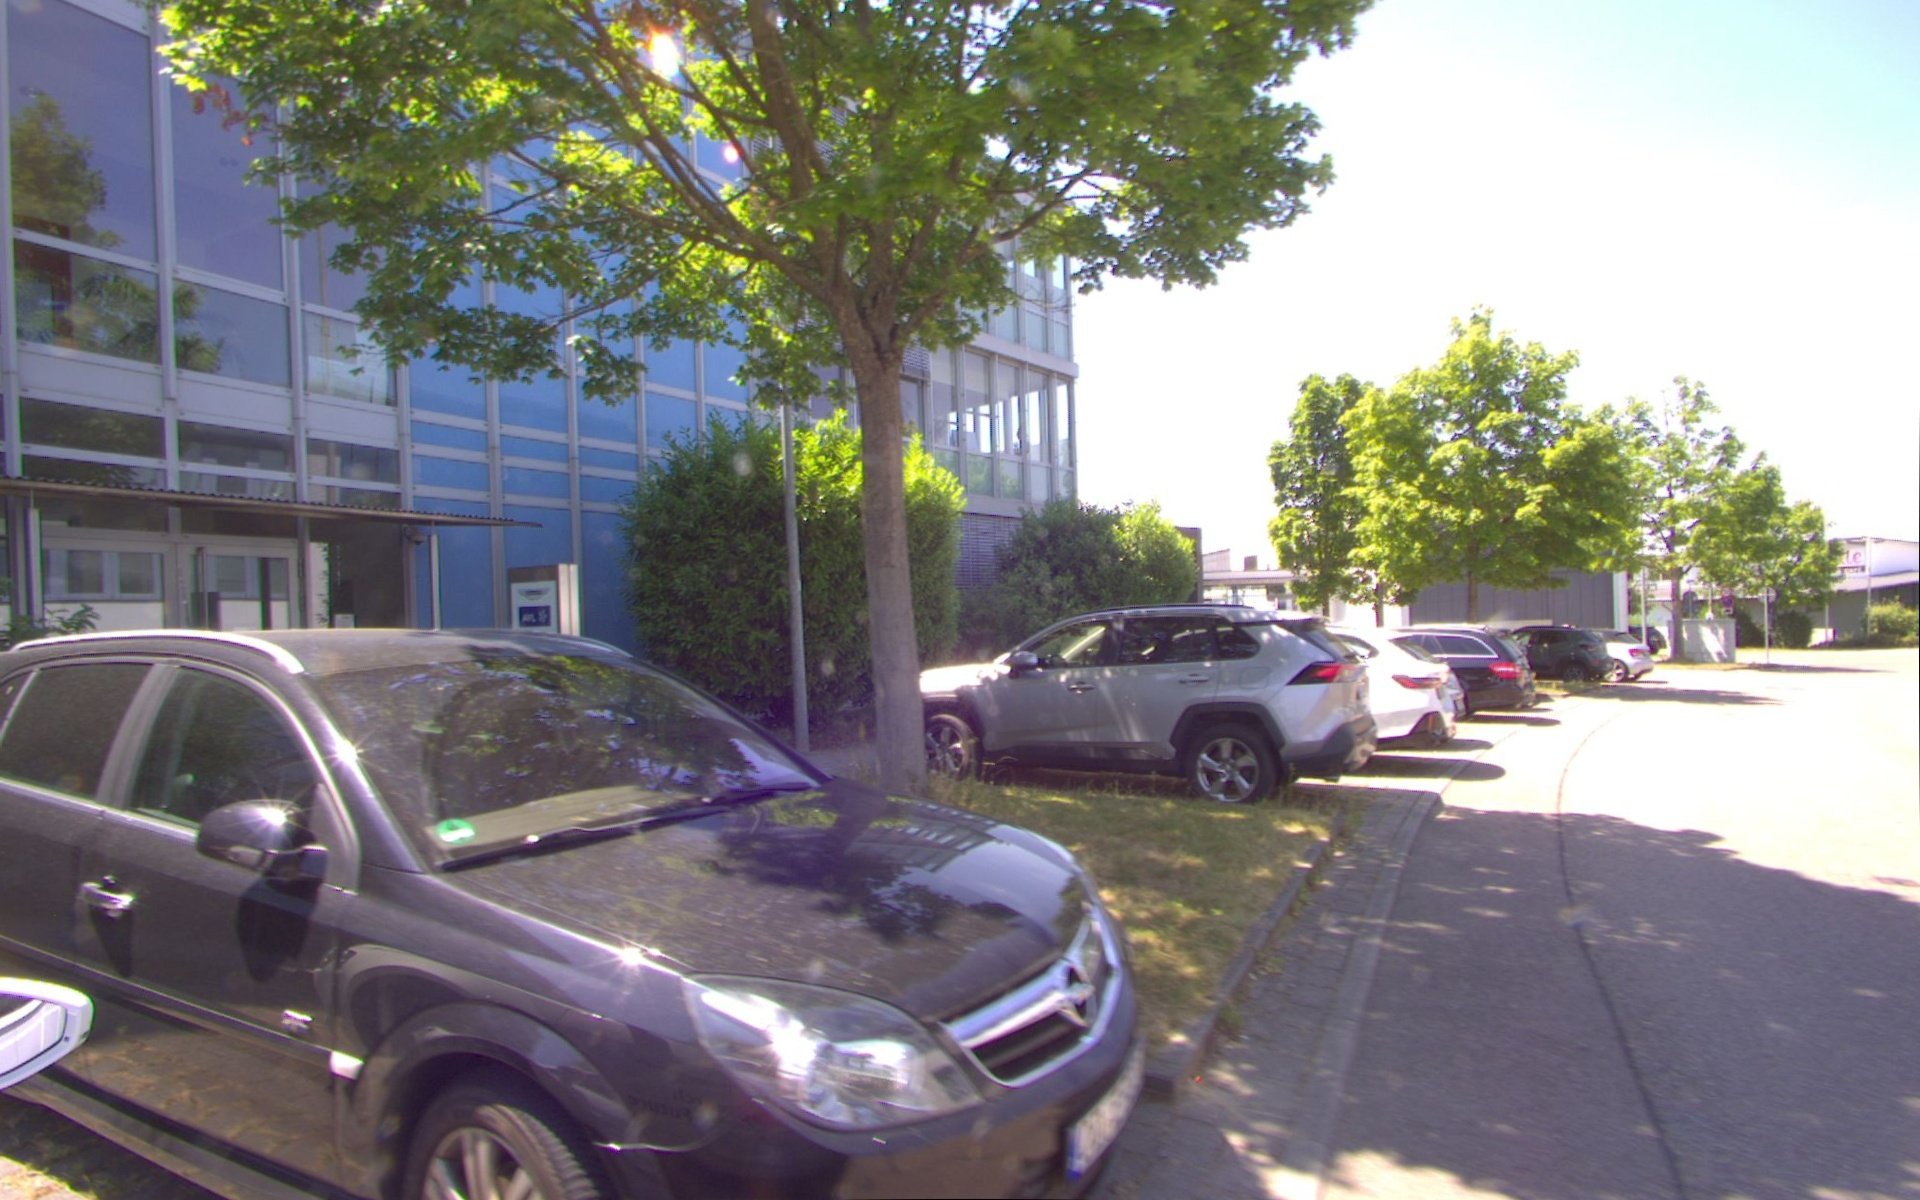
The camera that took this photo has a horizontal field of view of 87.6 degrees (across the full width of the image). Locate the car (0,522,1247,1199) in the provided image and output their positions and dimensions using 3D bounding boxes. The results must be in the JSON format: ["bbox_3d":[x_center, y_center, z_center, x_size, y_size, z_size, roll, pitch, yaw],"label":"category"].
[{"bbox_3d":[-1.576,0.760,3.135,4.495,1.569,1.757,-2,-2,28],"label":"car"}]

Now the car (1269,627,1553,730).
[{"bbox_3d":[7.530,1.220,16.905,4.125,1.505,1.649,0,-1,38],"label":"car"}]

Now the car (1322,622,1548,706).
[{"bbox_3d":[10.154,1.296,21.610,4.134,1.625,1.646,-1,-1,44],"label":"car"}]

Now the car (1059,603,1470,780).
[{"bbox_3d":[3.334,0.895,11.183,4.140,1.664,1.653,0,-1,30],"label":"car"}]

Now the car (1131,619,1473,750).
[{"bbox_3d":[4.531,1.021,13.421,4.115,1.505,1.653,0,-1,30],"label":"car"}]

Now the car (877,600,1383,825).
[{"bbox_3d":[1.509,0.864,9.283,4.267,1.664,1.849,0,-1,30],"label":"car"}]

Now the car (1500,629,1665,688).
[{"bbox_3d":[16.996,1.549,27.463,1.619,1.462,3.557,1,-1,-42],"label":"car"}]

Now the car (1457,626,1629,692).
[{"bbox_3d":[15.106,1.479,26.053,1.619,1.545,3.557,1,-1,-42],"label":"car"}]
